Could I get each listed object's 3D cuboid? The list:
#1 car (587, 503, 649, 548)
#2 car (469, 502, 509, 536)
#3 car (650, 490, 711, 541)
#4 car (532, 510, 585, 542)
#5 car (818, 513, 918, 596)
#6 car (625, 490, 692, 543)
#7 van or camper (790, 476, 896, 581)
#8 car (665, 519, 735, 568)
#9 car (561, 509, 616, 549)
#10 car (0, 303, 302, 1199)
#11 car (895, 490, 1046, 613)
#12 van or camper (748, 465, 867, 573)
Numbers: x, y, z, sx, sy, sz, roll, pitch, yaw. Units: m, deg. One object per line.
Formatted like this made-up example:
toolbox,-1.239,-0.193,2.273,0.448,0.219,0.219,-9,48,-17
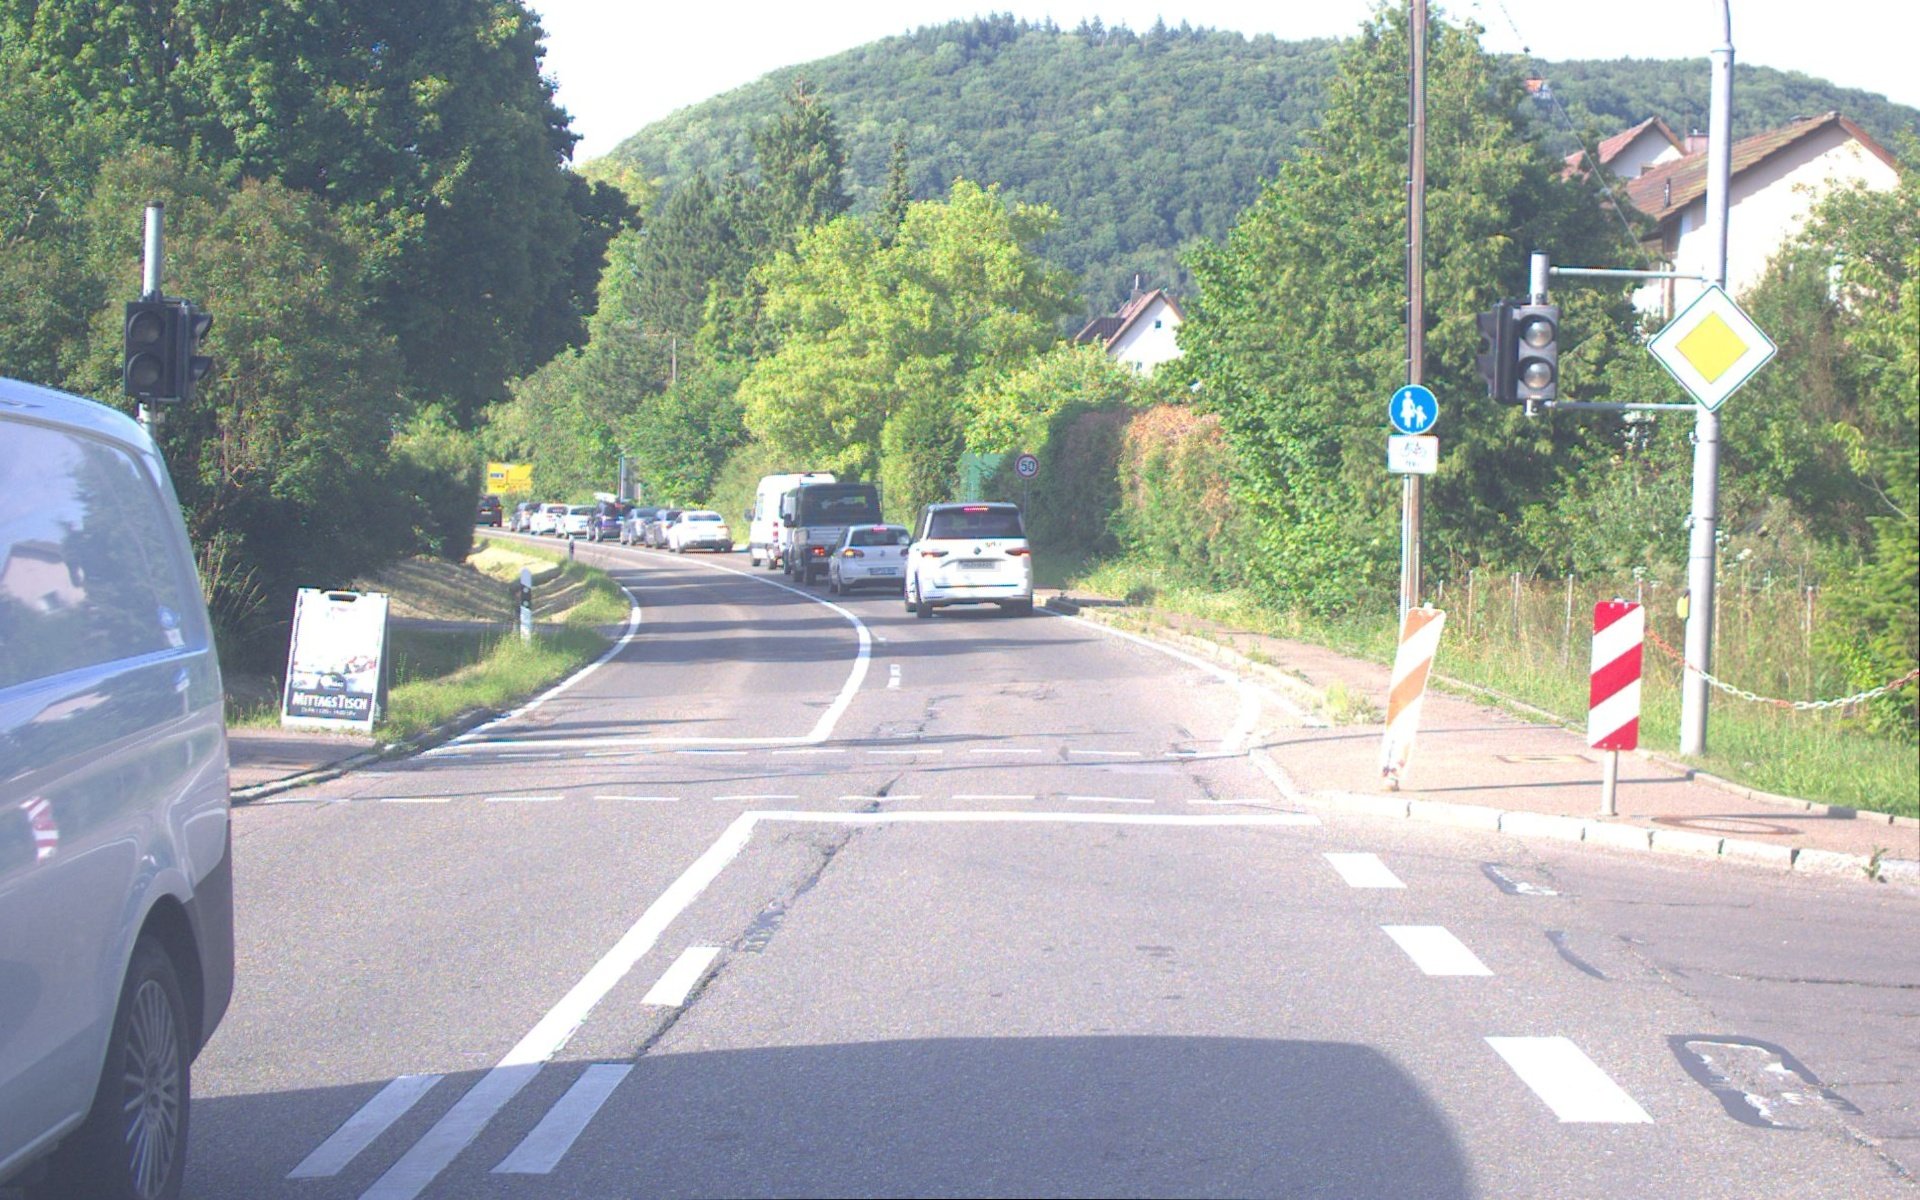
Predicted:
car,-13.925,-3.042,139.966,2.040,1.678,4.002,1,2,-12
car,-25.042,-4.321,182.811,1.771,1.776,4.001,-1,1,-12
car,-10.141,-3.077,124.568,1.796,1.787,4.001,0,2,-11
car,-18.429,-3.415,157.601,1.941,1.419,4.001,0,2,-14
car,-1.959,-0.971,71.899,1.993,1.678,4.001,0,2,-3
car,-11.573,-3.202,131.746,1.993,2.006,4.001,0,2,-13
van or camper,-2.787,-1.700,80.835,2.179,2.377,5.371,0,2,-5
car,-8.915,-1.944,117.625,1.819,1.546,4.002,-1,2,-12
car,-16.069,-3.070,148.578,1.941,1.678,4.001,-1,1,-12
car,-2.702,0.441,5.912,1.993,1.897,5.253,-1,2,1
car,0.121,-0.863,58.100,1.993,1.870,4.872,2,2,-6
van or camper,-4.290,-2.271,95.653,2.414,2.894,6.133,0,2,-11
